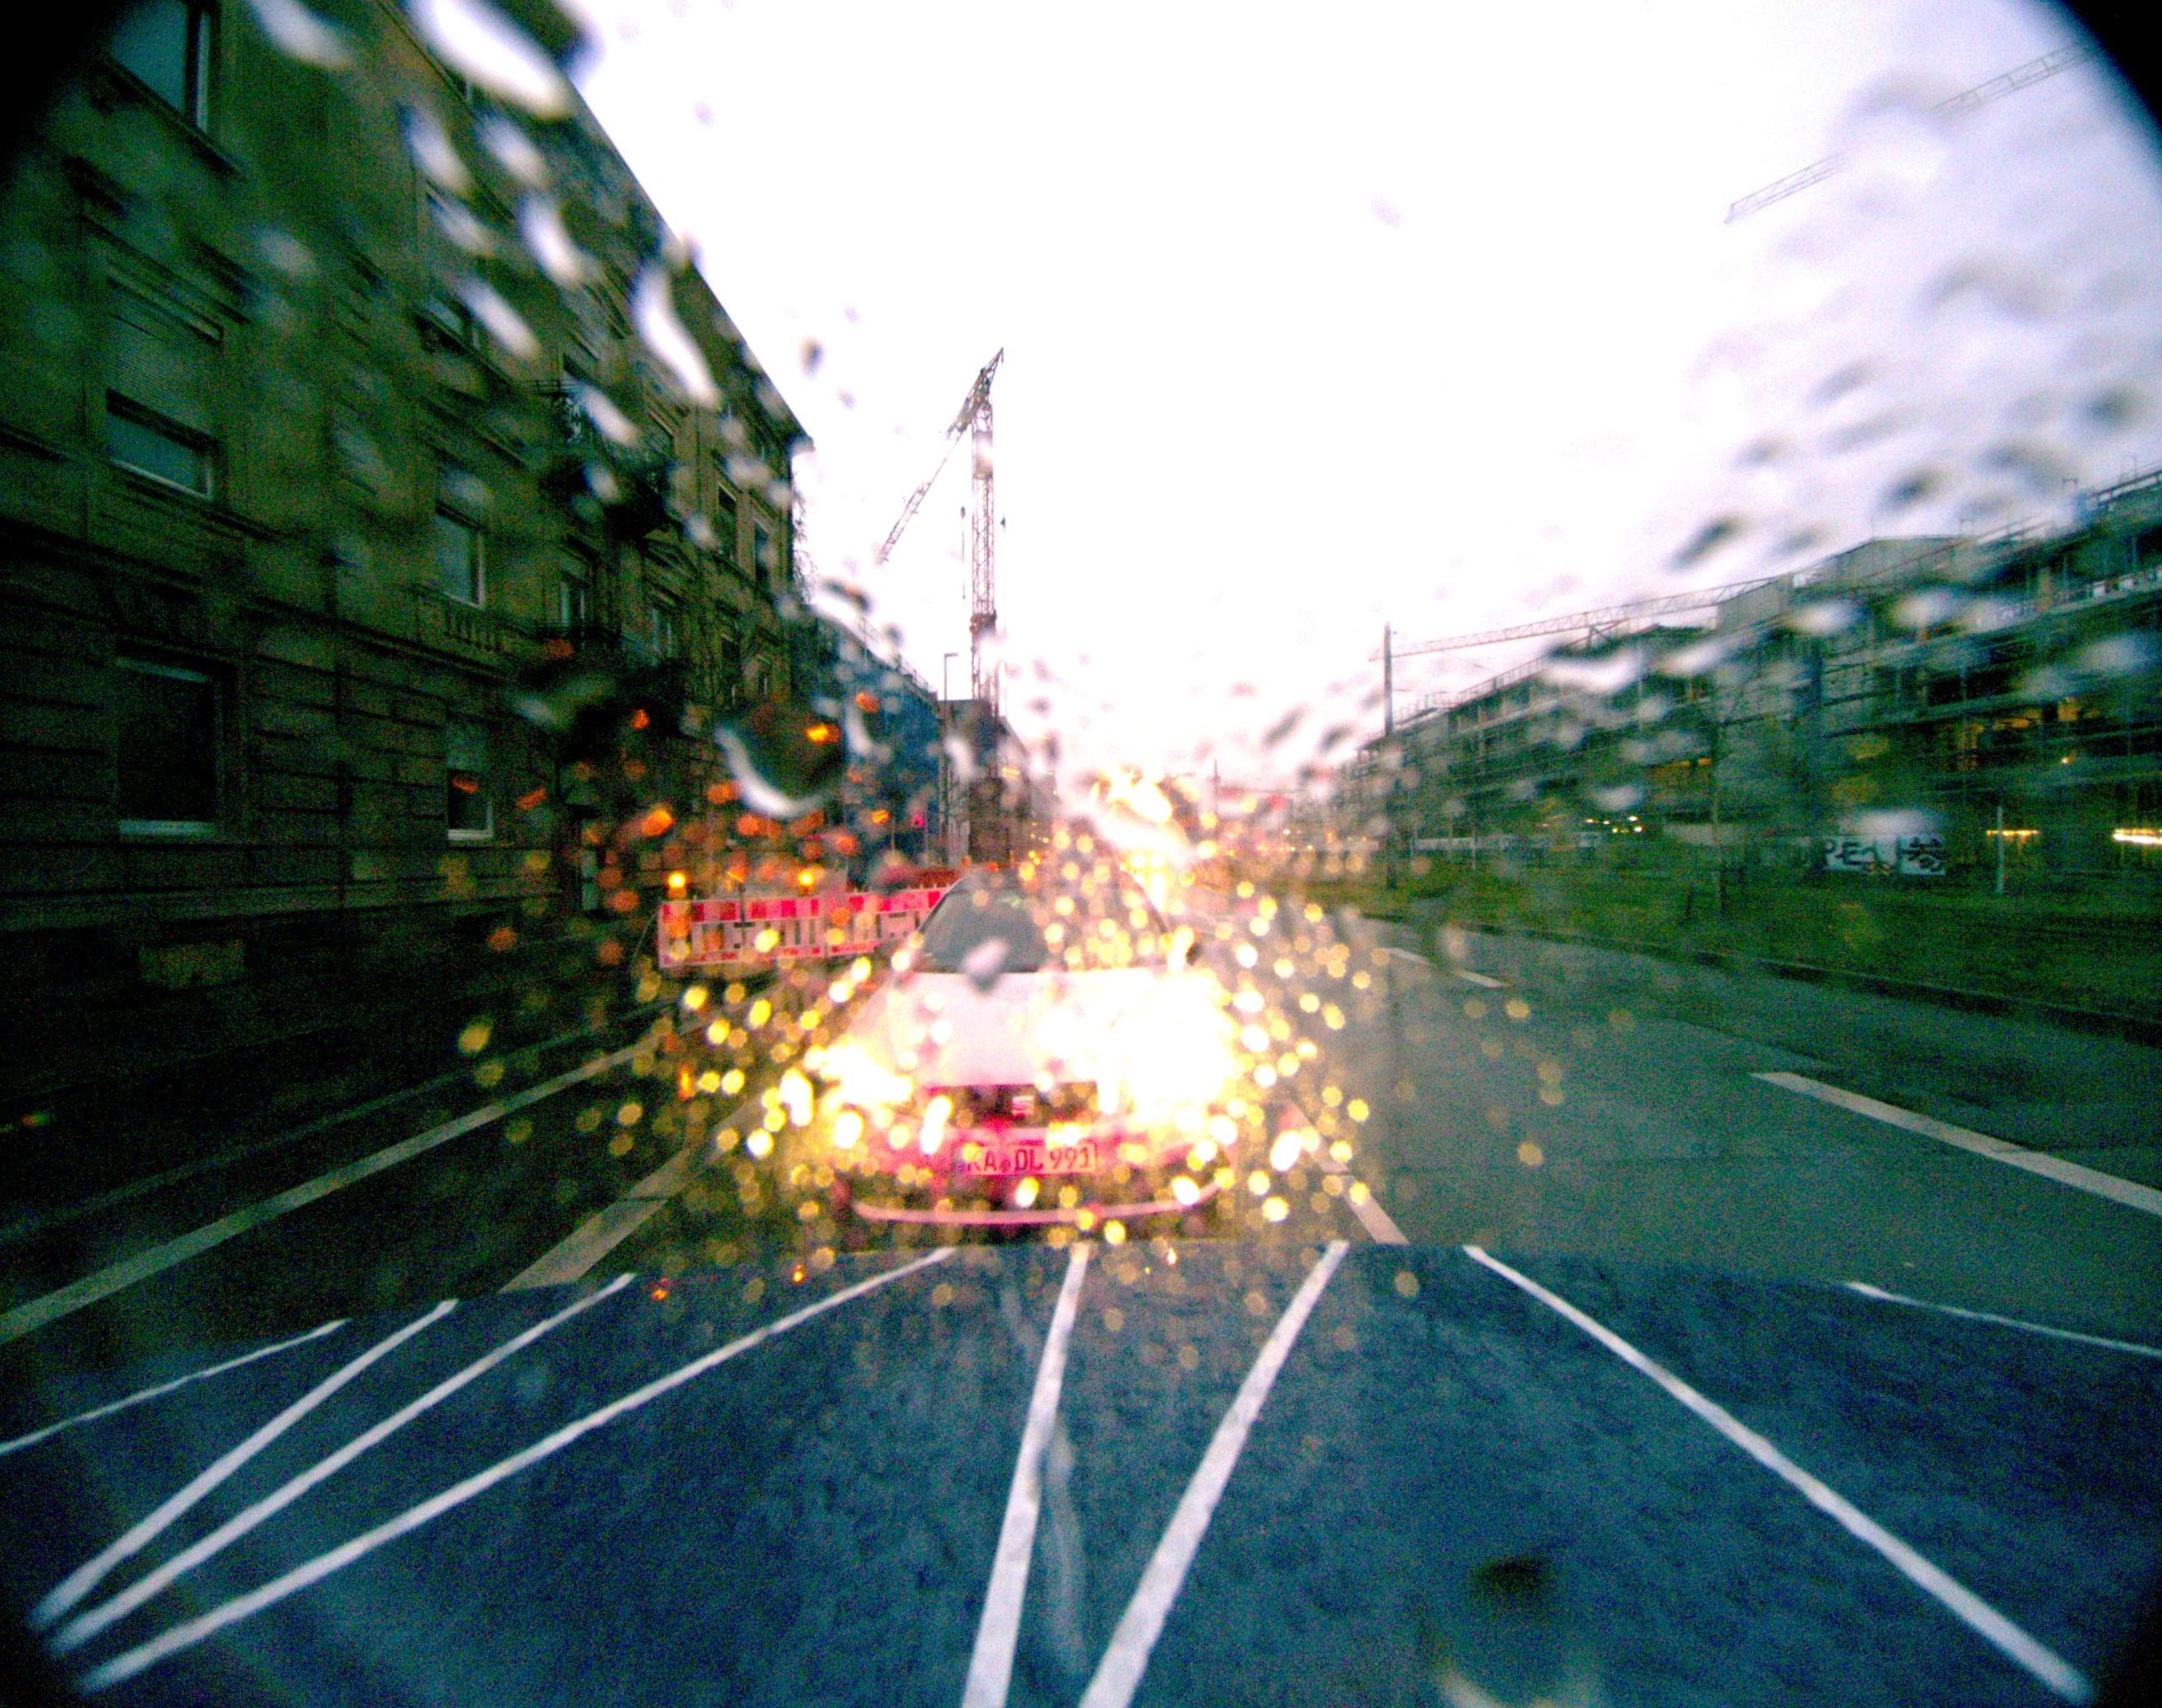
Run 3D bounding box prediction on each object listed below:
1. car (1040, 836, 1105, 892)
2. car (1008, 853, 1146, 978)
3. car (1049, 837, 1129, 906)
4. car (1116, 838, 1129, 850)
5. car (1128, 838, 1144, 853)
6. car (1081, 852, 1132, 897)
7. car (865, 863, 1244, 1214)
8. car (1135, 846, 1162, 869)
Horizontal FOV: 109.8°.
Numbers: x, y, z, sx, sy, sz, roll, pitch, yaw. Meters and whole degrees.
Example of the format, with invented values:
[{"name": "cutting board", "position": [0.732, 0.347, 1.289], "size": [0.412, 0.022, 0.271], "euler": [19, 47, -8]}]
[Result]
[{"name": "car", "position": [-0.251, 0.245, 23.672], "size": [1.769, 1.504, 3.899], "euler": [-3, 1, 0]}, {"name": "car", "position": [-0.056, 0.814, 12.031], "size": [1.769, 1.504, 3.899], "euler": [-3, 1, 0]}, {"name": "car", "position": [0.171, 0.366, 19.330], "size": [1.769, 1.504, 3.899], "euler": [-3, 1, 0]}, {"name": "car", "position": [5.897, -1.403, 107.054], "size": [1.768, 1.614, 3.900], "euler": [-3, 1, 4]}, {"name": "car", "position": [6.296, -1.012, 87.362], "size": [1.768, 1.614, 3.900], "euler": [-3, 1, 4]}, {"name": "car", "position": [0.920, 0.738, 29.415], "size": [1.769, 1.504, 3.899], "euler": [-3, 1, 0]}, {"name": "car", "position": [-0.131, 0.924, 5.639], "size": [1.769, 1.504, 3.899], "euler": [-3, 1, 0]}, {"name": "car", "position": [4.893, 0.254, 55.425], "size": [1.768, 1.504, 3.900], "euler": [-3, 1, 3]}]
